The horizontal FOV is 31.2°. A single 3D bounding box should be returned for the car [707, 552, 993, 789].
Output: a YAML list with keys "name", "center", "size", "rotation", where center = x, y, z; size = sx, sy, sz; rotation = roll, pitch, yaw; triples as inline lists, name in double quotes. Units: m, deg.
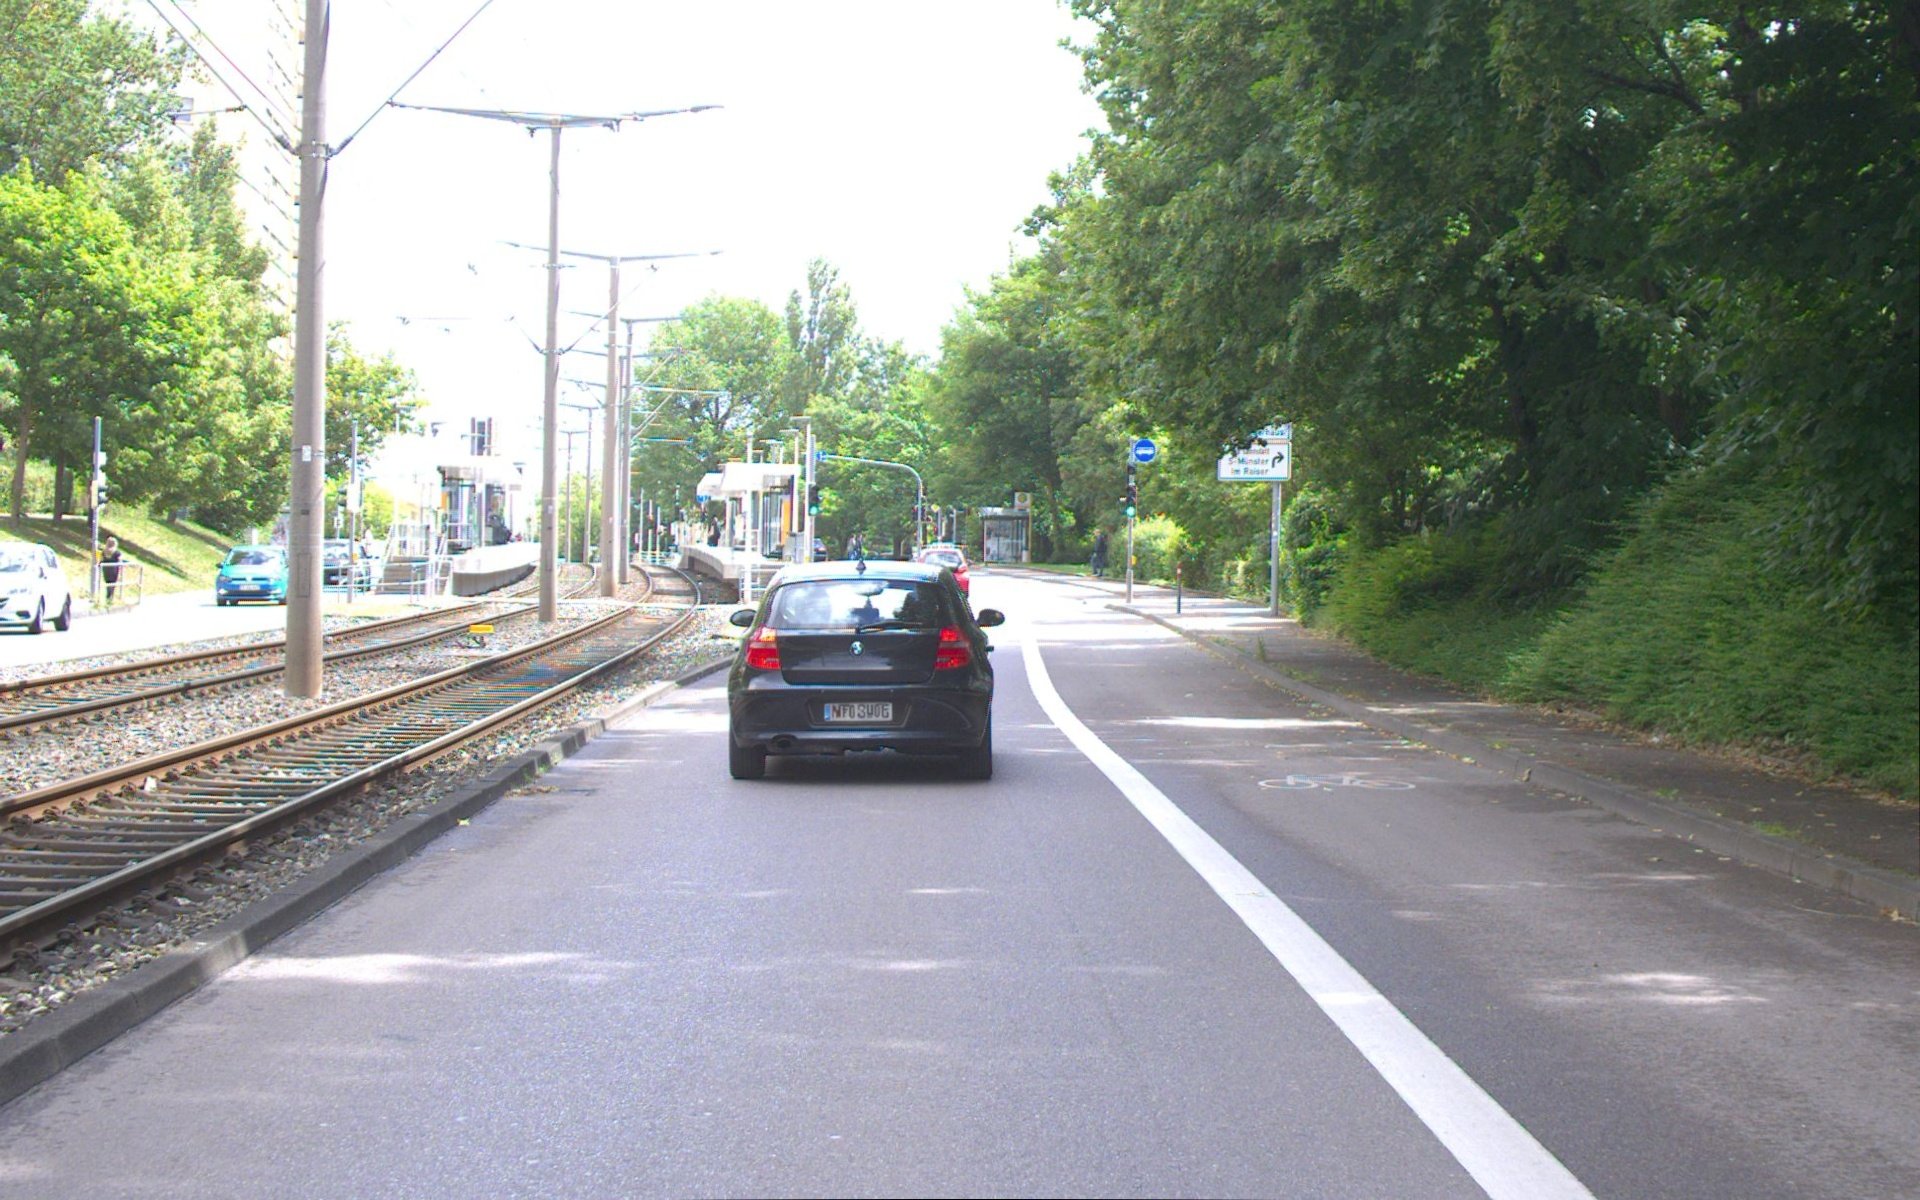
- name: "car"
  center: [-0.753, 0.411, 23.472]
  size: [1.781, 1.454, 3.921]
  rotation: [0, 1, -2]

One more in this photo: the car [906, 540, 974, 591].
- name: "car"
  center: [-0.614, -1.029, 101.314]
  size: [1.781, 1.454, 3.922]
  rotation: [1, 1, -4]

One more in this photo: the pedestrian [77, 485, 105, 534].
- name: "pedestrian"
  center: [-27.515, -2.870, 108.868]
  size: [0.634, 1.529, 0.634]
  rotation: [0, 1, 18]

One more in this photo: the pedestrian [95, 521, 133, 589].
- name: "pedestrian"
  center: [-19.068, -1.007, 77.489]
  size: [0.767, 1.529, 0.717]
  rotation: [0, 1, -19]

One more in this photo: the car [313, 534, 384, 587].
- name: "car"
  center: [-18.569, -1.203, 104.504]
  size: [1.715, 1.559, 3.698]
  rotation: [1, 1, -4]

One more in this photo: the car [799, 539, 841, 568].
- name: "car"
  center: [-7.249, -2.400, 177.449]
  size: [1.909, 1.454, 4.003]
  rotation: [1, 1, -6]

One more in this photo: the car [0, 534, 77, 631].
- name: "car"
  center: [-15.729, -0.304, 56.382]
  size: [1.781, 1.527, 4.245]
  rotation: [0, 1, -6]

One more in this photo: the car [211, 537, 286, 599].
- name: "car"
  center: [-17.096, -0.792, 82.730]
  size: [1.715, 1.437, 3.944]
  rotation: [0, 1, -11]
